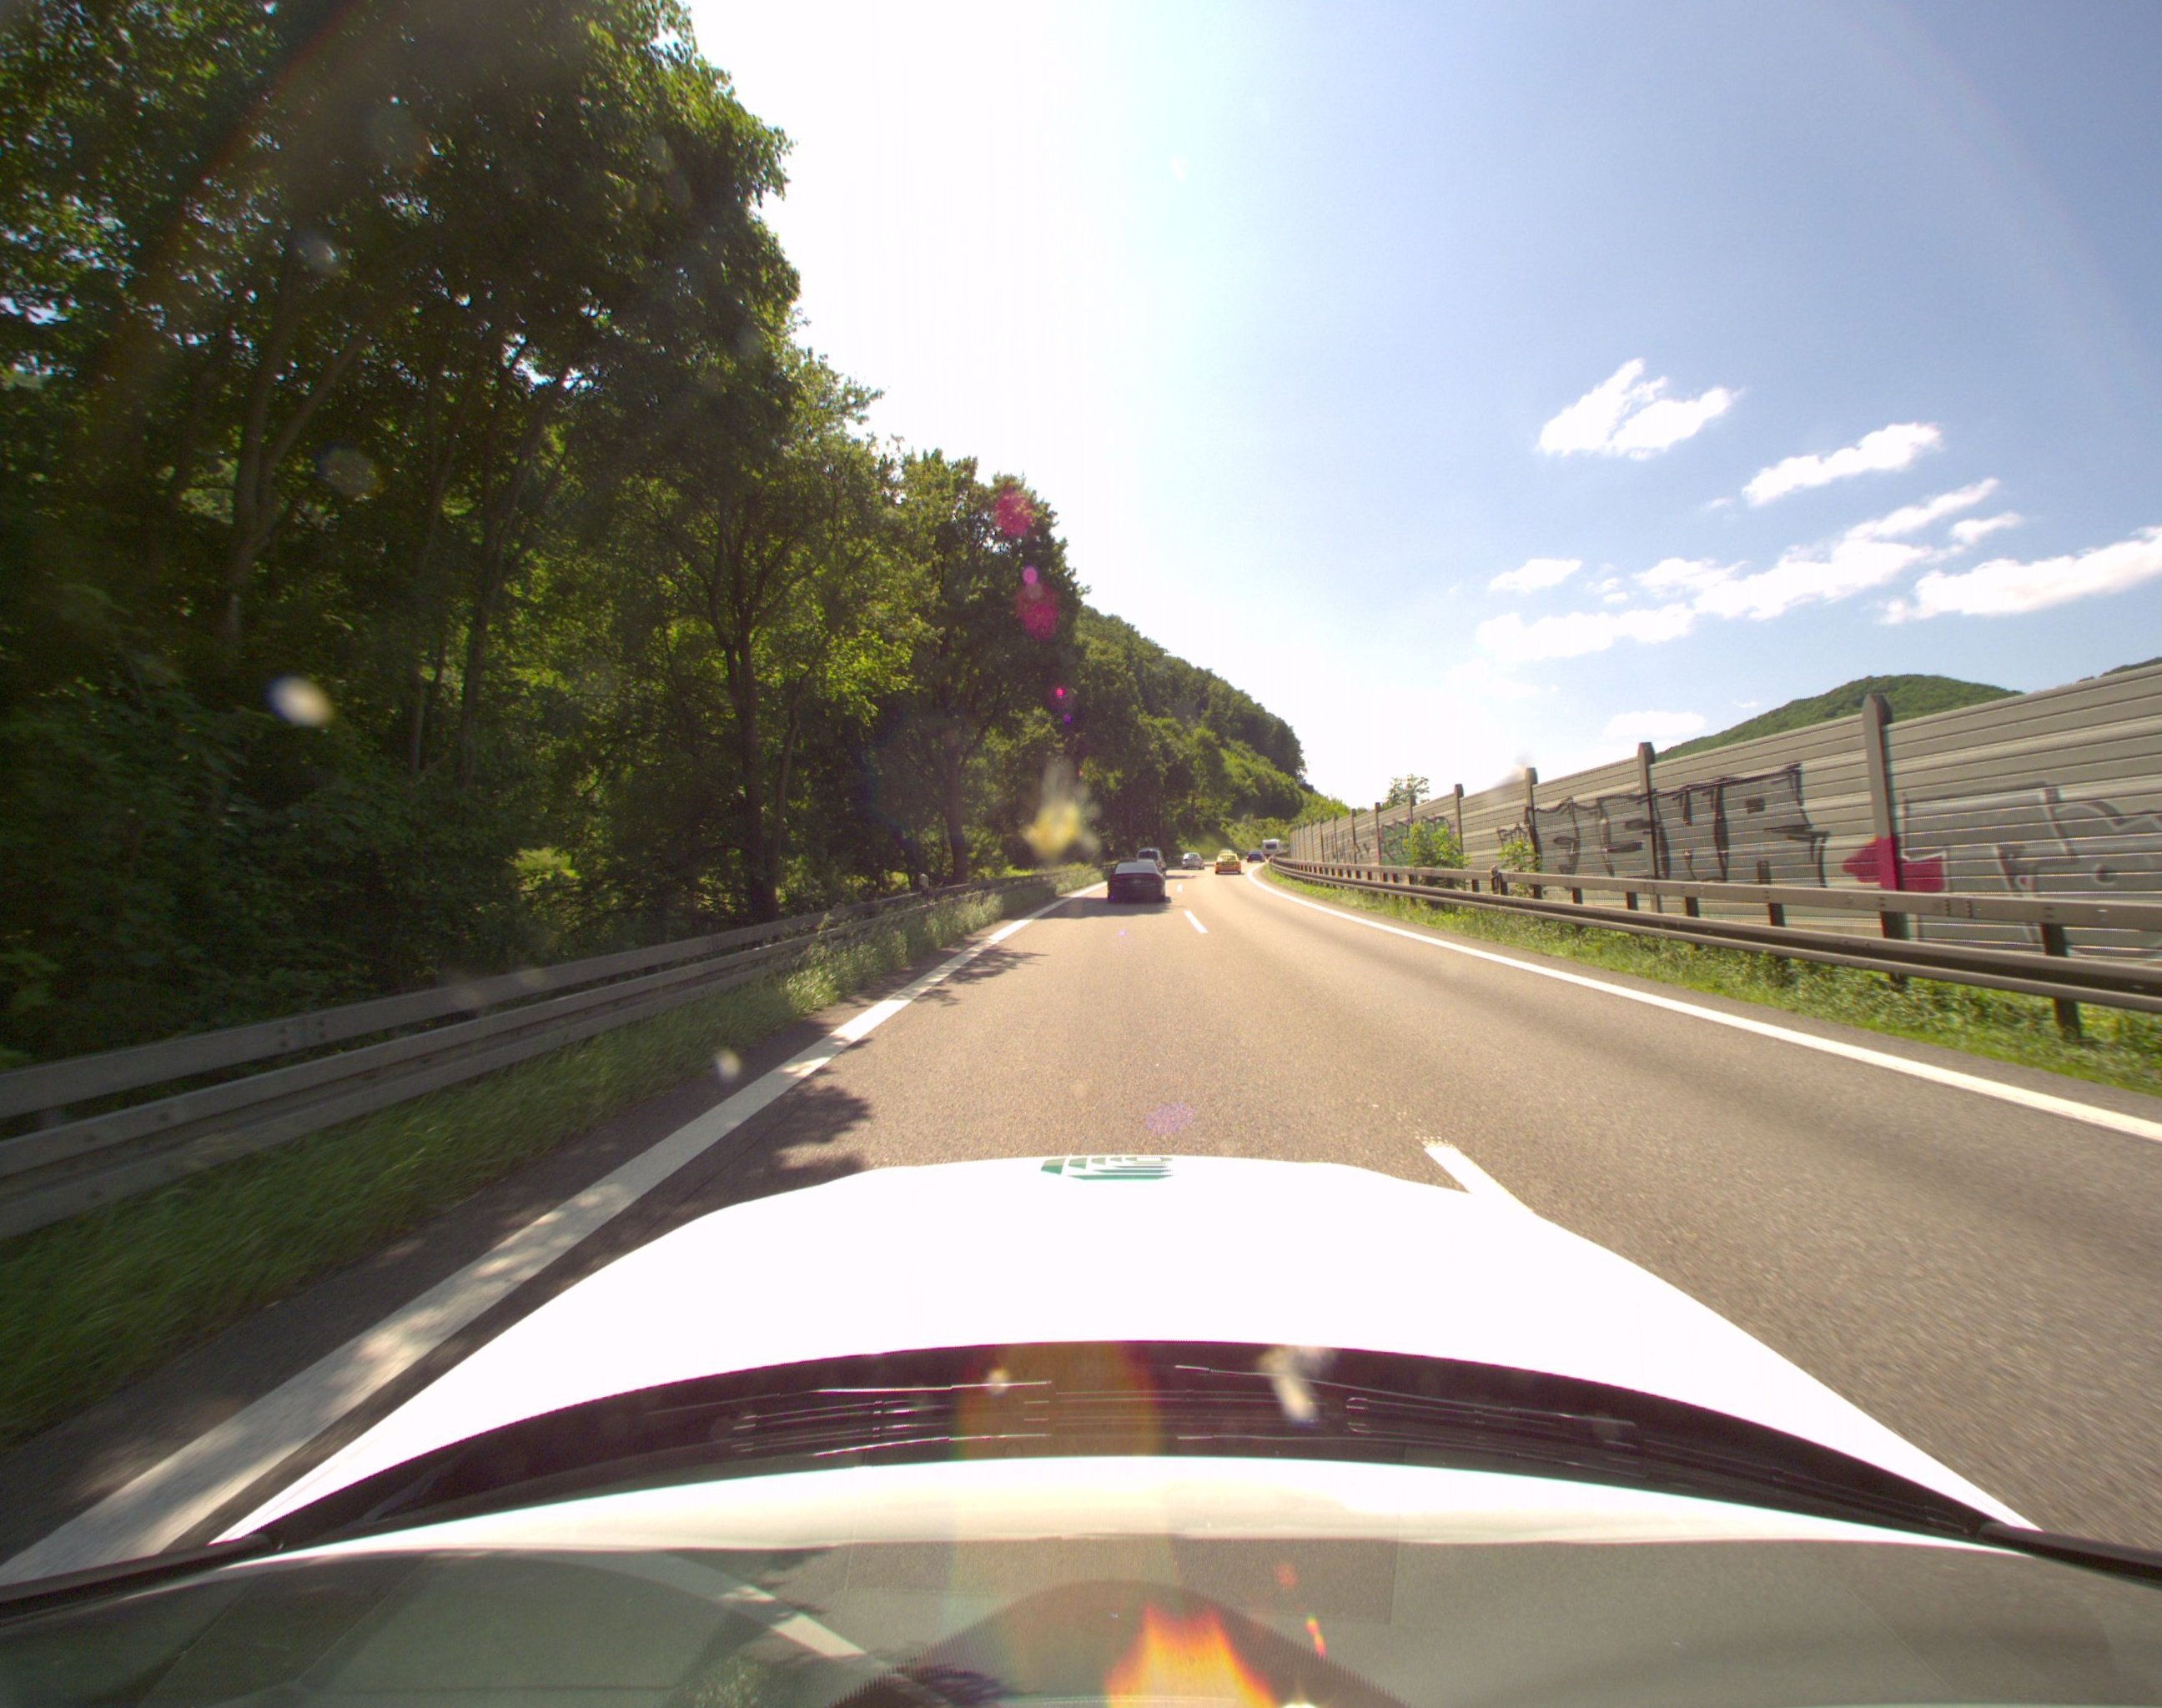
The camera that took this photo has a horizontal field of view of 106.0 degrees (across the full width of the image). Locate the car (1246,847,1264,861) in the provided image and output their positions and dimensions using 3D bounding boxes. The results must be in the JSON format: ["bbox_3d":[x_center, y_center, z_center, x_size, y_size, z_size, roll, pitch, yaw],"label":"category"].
[{"bbox_3d":[20.656,-0.005,96.770,1.760,1.637,4.017,-2,-1,16],"label":"car"}]

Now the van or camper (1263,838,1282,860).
[{"bbox_3d":[27.029,-0.615,114.647,2.438,2.918,6.149,-2,-1,14],"label":"van or camper"}]

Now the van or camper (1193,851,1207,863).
[{"bbox_3d":[15.165,0.392,103.862,1.547,1.534,3.516,-2,-1,11],"label":"van or camper"}]

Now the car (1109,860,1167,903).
[{"bbox_3d":[1.857,0.881,27.532,1.831,1.349,4.001,0,-1,2],"label":"car"}]

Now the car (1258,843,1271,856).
[{"bbox_3d":[29.783,-0.647,132.301,1.980,2.014,4.014,-2,-1,13],"label":"car"}]

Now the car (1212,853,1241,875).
[{"bbox_3d":[10.405,0.709,58.157,1.850,1.488,4.014,-2,-1,12],"label":"car"}]

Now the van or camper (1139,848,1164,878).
[{"bbox_3d":[4.535,0.550,51.836,1.384,1.816,4.008,-2,-1,7],"label":"van or camper"}]

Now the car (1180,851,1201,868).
[{"bbox_3d":[9.593,0.470,71.304,1.737,1.431,4.009,-2,-1,8],"label":"car"}]
